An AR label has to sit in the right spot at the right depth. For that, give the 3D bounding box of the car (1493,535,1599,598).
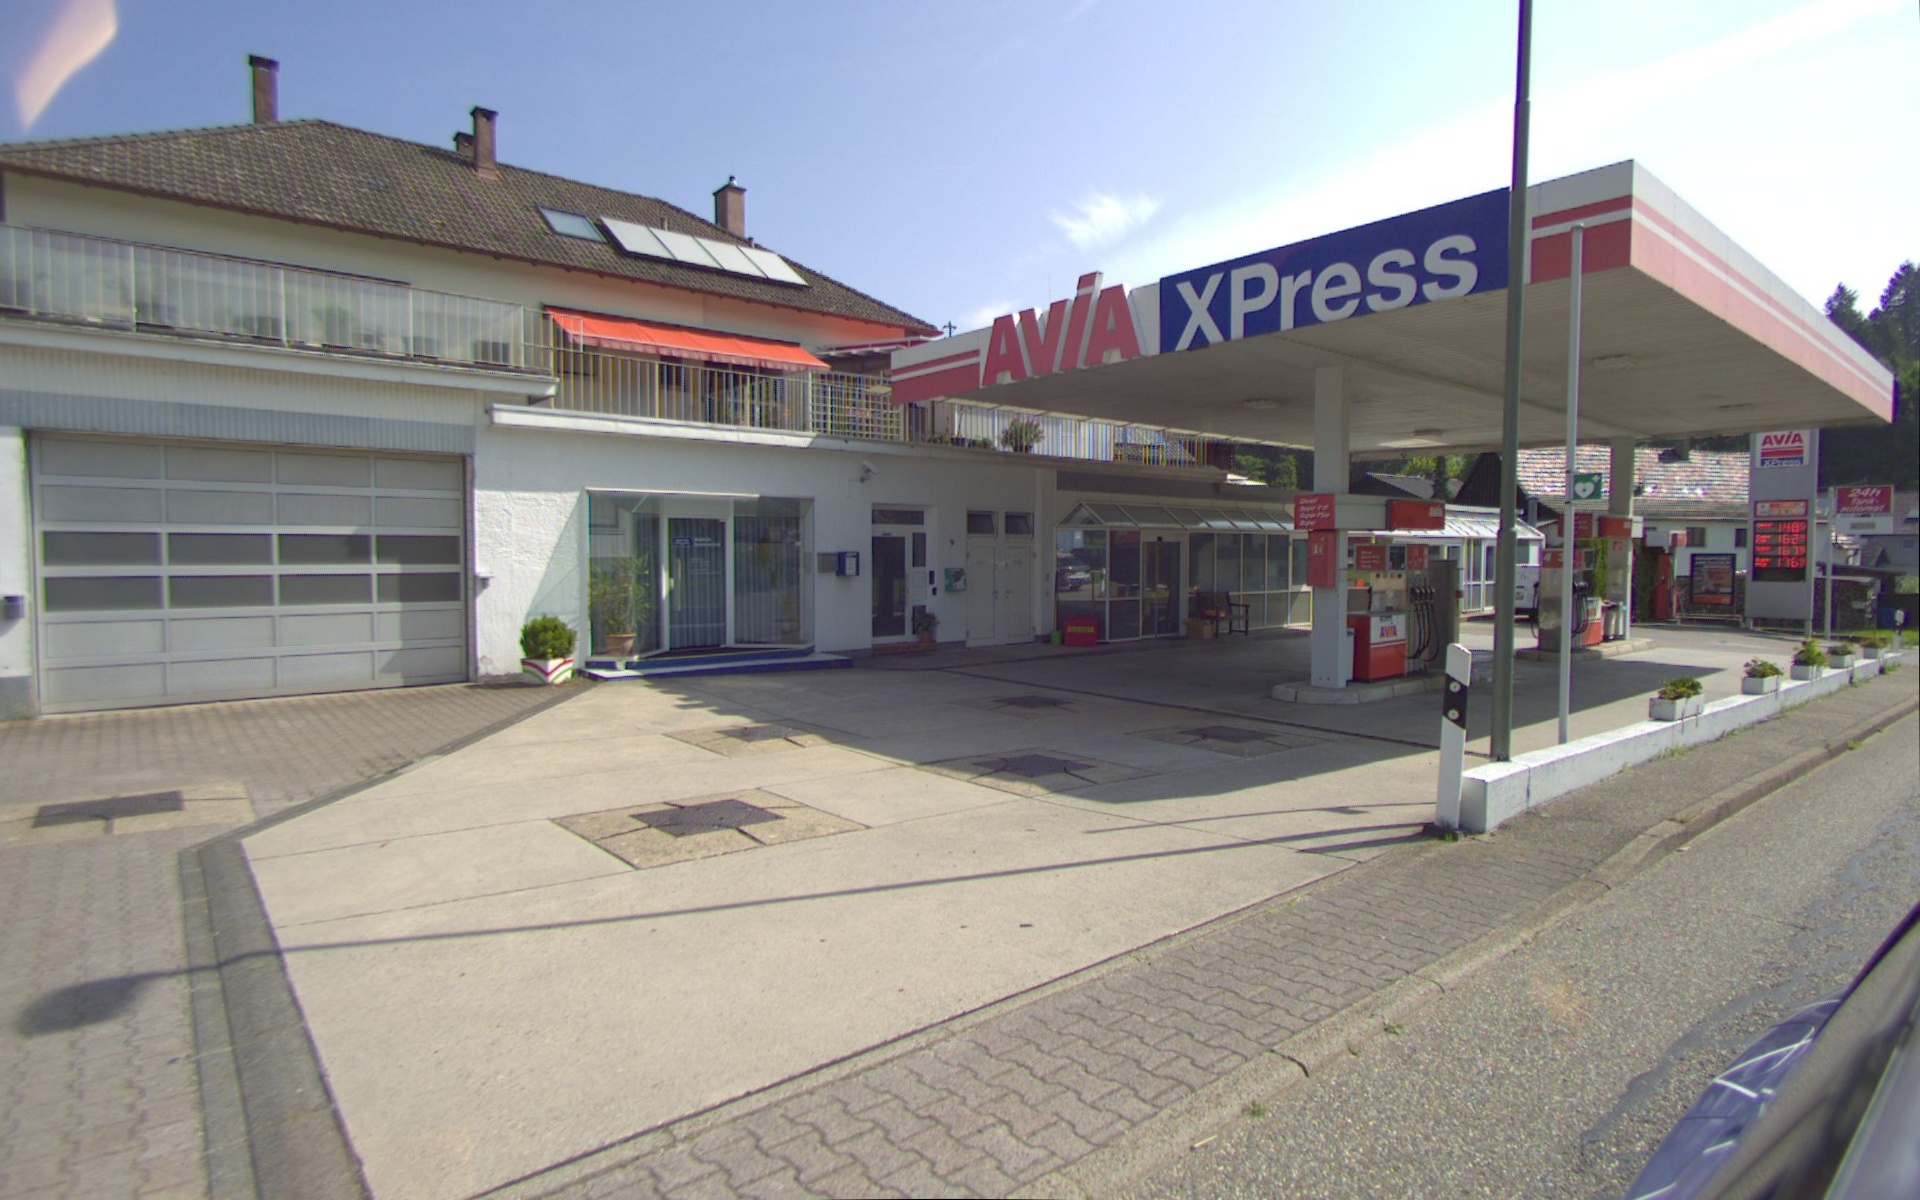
[{"bbox_3d":[18.058,-1.031,31.128,3.932,1.838,1.682,-2,1,-42],"label":"car"}]

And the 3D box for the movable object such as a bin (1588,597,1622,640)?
[{"bbox_3d":[13.211,0.379,20.736,0.488,0.856,0.480,0,1,-43],"label":"movable object such as a bin"}]

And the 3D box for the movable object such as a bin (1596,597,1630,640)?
[{"bbox_3d":[13.610,0.376,21.086,0.519,0.856,0.480,0,1,-43],"label":"movable object such as a bin"}]
